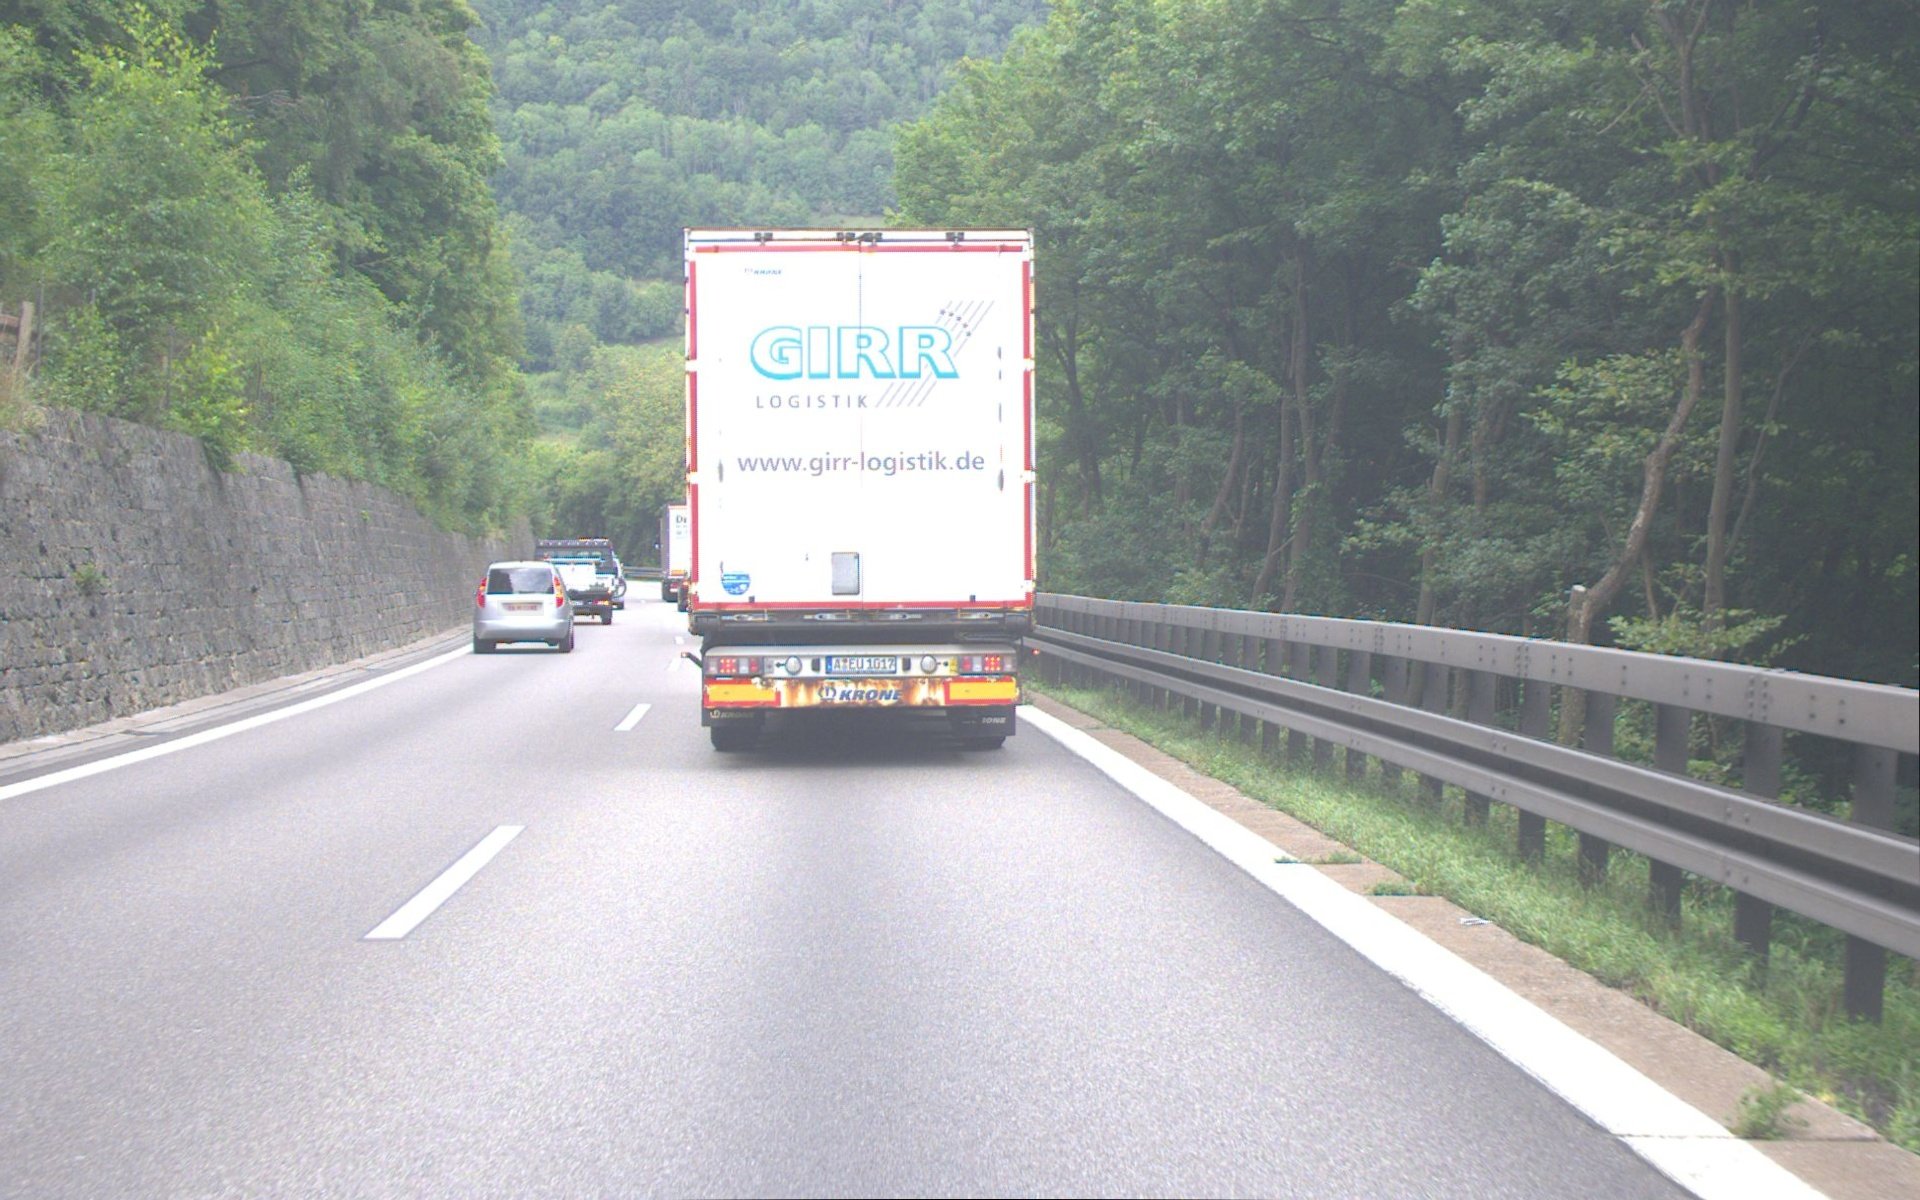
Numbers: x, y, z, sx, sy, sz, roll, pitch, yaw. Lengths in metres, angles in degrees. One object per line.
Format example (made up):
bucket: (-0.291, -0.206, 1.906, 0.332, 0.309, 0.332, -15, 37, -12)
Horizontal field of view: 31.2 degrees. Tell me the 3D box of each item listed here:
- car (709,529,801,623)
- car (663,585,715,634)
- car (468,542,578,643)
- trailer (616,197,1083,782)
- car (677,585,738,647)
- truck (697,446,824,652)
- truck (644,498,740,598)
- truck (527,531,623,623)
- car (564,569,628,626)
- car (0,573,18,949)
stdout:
car: (-4.721, -0.534, 78.976, 1.993, 2.007, 4.334, 2, 0, -4)
car: (-11.793, 0.397, 149.583, 1.993, 2.007, 4.001, 2, 0, -7)
car: (-7.771, -0.136, 61.396, 1.634, 1.721, 4.345, 1, 0, -3)
trailer: (-1.072, -0.848, 29.510, 3.132, 4.029, 9.440, 3, 0, -3)
car: (-8.604, 0.549, 117.069, 1.993, 2.007, 4.001, 2, 0, -4)
truck: (-3.896, -0.952, 67.943, 2.233, 3.791, 6.823, 2, 0, -3)
truck: (-11.034, -2.080, 140.759, 3.068, 3.864, 8.460, 2, 0, -9)
truck: (-10.224, -0.618, 91.689, 2.348, 2.266, 6.850, 2, 0, -5)
car: (-12.959, -0.096, 122.625, 2.018, 1.908, 5.564, 2, 0, -4)
car: (-4.539, 0.651, 11.033, 1.760, 1.458, 5.123, 0, 1, -2)
